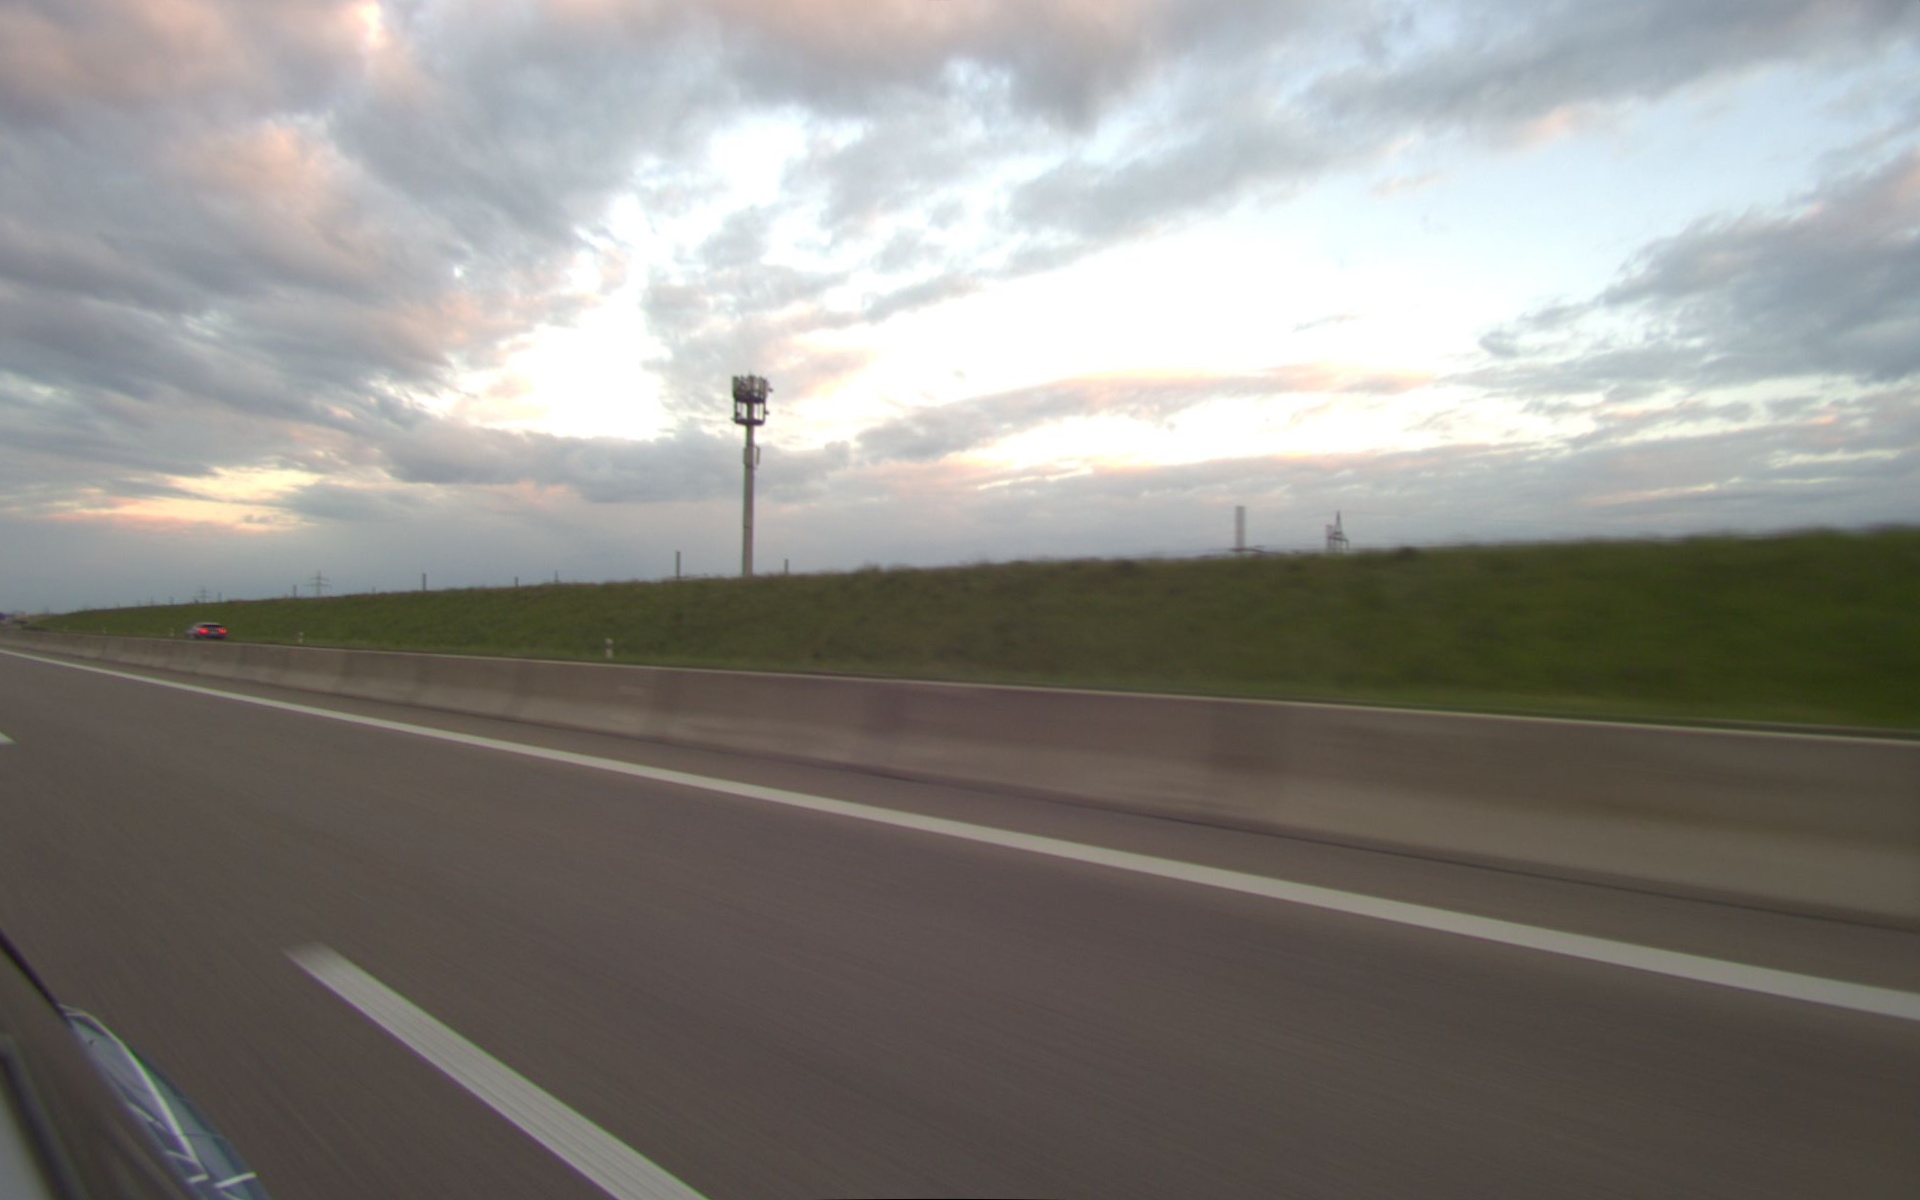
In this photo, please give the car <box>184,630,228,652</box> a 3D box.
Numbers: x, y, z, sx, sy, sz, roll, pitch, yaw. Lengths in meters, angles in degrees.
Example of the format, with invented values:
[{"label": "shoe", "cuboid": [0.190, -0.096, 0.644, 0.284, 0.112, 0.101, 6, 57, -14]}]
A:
[{"label": "car", "cuboid": [-56.560, 3.055, 75.866, 4.581, 1.565, 1.841, -1, -3, 43]}]
